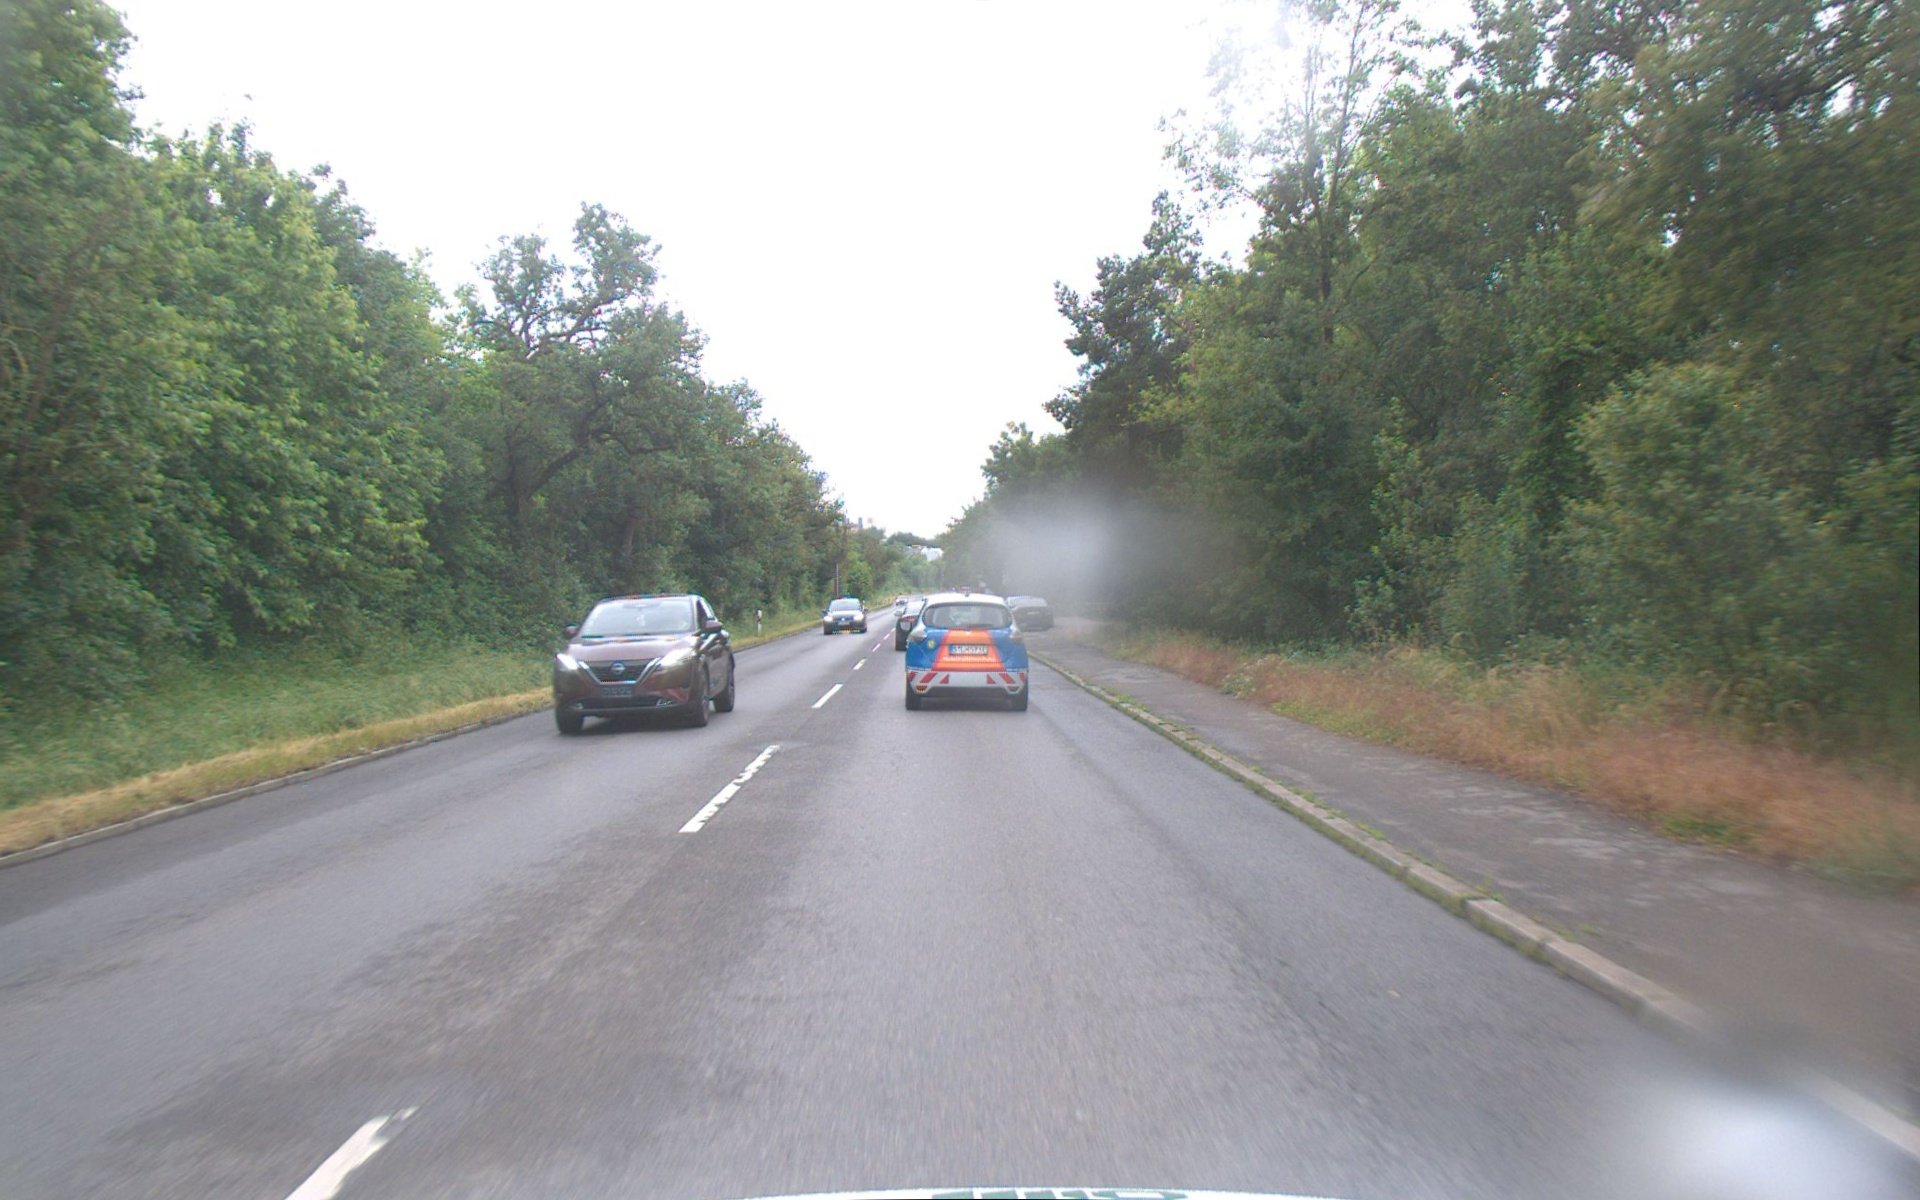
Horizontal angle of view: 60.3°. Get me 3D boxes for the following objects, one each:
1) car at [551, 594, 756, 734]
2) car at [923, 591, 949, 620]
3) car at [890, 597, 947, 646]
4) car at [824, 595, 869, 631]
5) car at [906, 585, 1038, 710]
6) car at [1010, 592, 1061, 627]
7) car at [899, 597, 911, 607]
[{"bbox_3d":[-3.829,0.736,21.422,1.867,1.584,4.514,-1,0,-1],"label":"car"},{"bbox_3d":[-1.629,0.360,111.893,1.708,1.915,3.998,0,0,-2],"label":"car"},{"bbox_3d":[-1.162,0.595,47.984,1.566,1.309,3.476,-1,0,0],"label":"car"},{"bbox_3d":[-4.822,0.535,70.781,1.676,1.423,4.148,-3,0,-2],"label":"car"},{"bbox_3d":[0.119,0.610,23.660,1.716,1.582,3.792,1,1,-1],"label":"car"},{"bbox_3d":[3.193,0.377,70.715,1.953,1.400,4.000,-1,0,0],"label":"car"},{"bbox_3d":[-8.551,0.309,257.277,1.847,1.411,3.998,0,0,-3],"label":"car"}]
